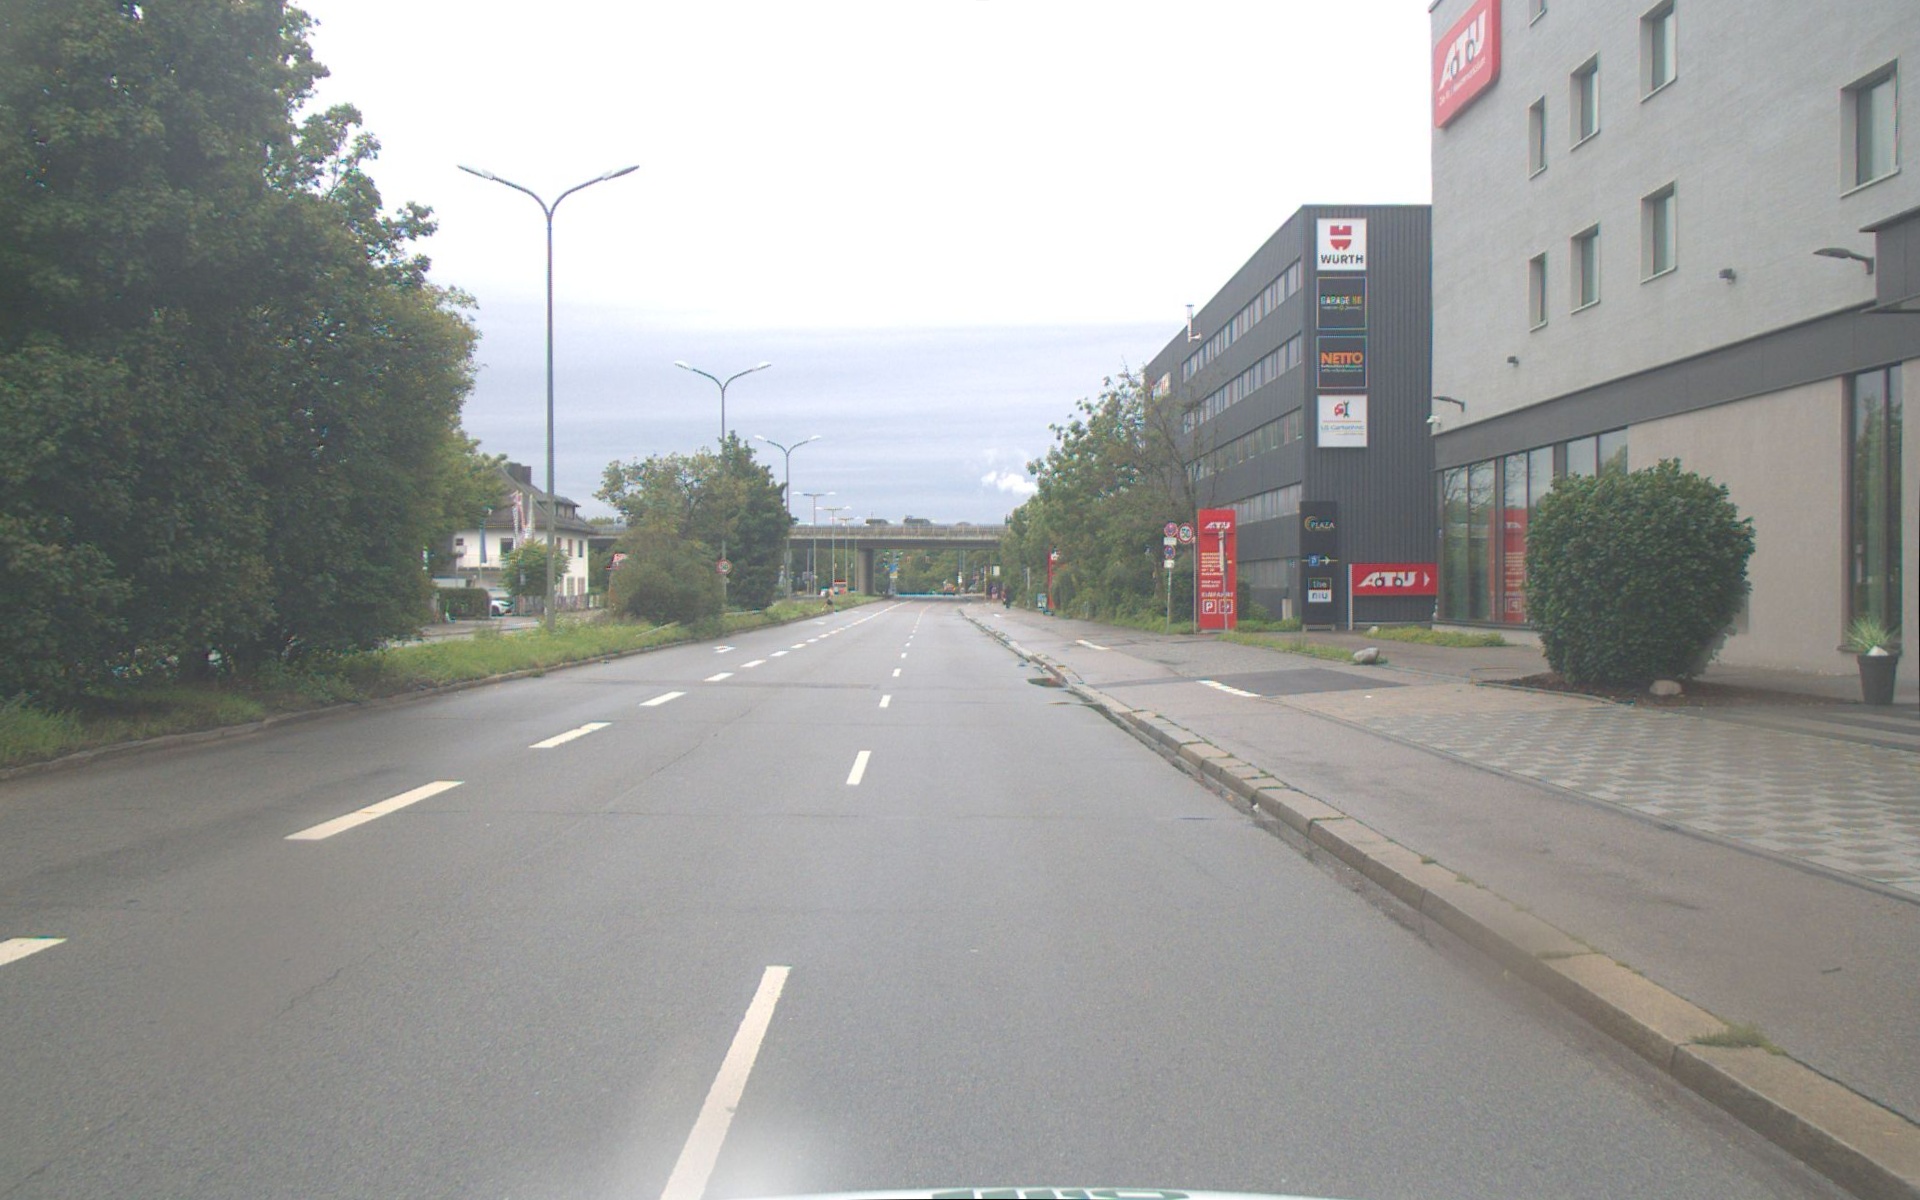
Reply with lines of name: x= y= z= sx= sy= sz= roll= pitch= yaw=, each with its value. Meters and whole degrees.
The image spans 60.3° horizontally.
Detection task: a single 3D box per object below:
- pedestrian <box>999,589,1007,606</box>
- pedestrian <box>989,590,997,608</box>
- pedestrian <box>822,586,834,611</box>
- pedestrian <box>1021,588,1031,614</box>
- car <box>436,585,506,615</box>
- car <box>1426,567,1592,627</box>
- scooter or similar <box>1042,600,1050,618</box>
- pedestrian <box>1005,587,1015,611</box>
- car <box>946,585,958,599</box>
pedestrian: x=4.042 y=-0.245 z=155.087 sx=0.675 sy=1.645 sz=0.662 roll=-2 pitch=0 yaw=-2
pedestrian: x=3.071 y=-0.088 z=155.197 sx=0.675 sy=1.645 sz=0.662 roll=-2 pitch=0 yaw=-2
pedestrian: x=-8.798 y=-0.131 z=110.239 sx=0.646 sy=1.645 sz=0.691 roll=-2 pitch=0 yaw=4
pedestrian: x=4.792 y=0.083 z=120.041 sx=0.675 sy=1.909 sz=0.662 roll=-2 pitch=0 yaw=-2
car: x=-30.769 y=0.016 z=104.185 sx=4.071 sy=1.738 sz=1.843 roll=-2 pitch=0 yaw=-14
car: x=14.948 y=-0.088 z=45.154 sx=3.930 sy=1.585 sz=1.820 roll=1 pitch=0 yaw=1
scooter or similar: x=5.024 y=0.545 z=96.661 sx=0.298 sy=1.021 sz=1.219 roll=-2 pitch=0 yaw=-4
pedestrian: x=3.957 y=-0.080 z=130.900 sx=0.675 sy=1.909 sz=0.662 roll=-2 pitch=0 yaw=-2
car: x=-1.148 y=-1.168 z=245.687 sx=1.775 sy=2.049 sz=3.834 roll=1 pitch=0 yaw=0
